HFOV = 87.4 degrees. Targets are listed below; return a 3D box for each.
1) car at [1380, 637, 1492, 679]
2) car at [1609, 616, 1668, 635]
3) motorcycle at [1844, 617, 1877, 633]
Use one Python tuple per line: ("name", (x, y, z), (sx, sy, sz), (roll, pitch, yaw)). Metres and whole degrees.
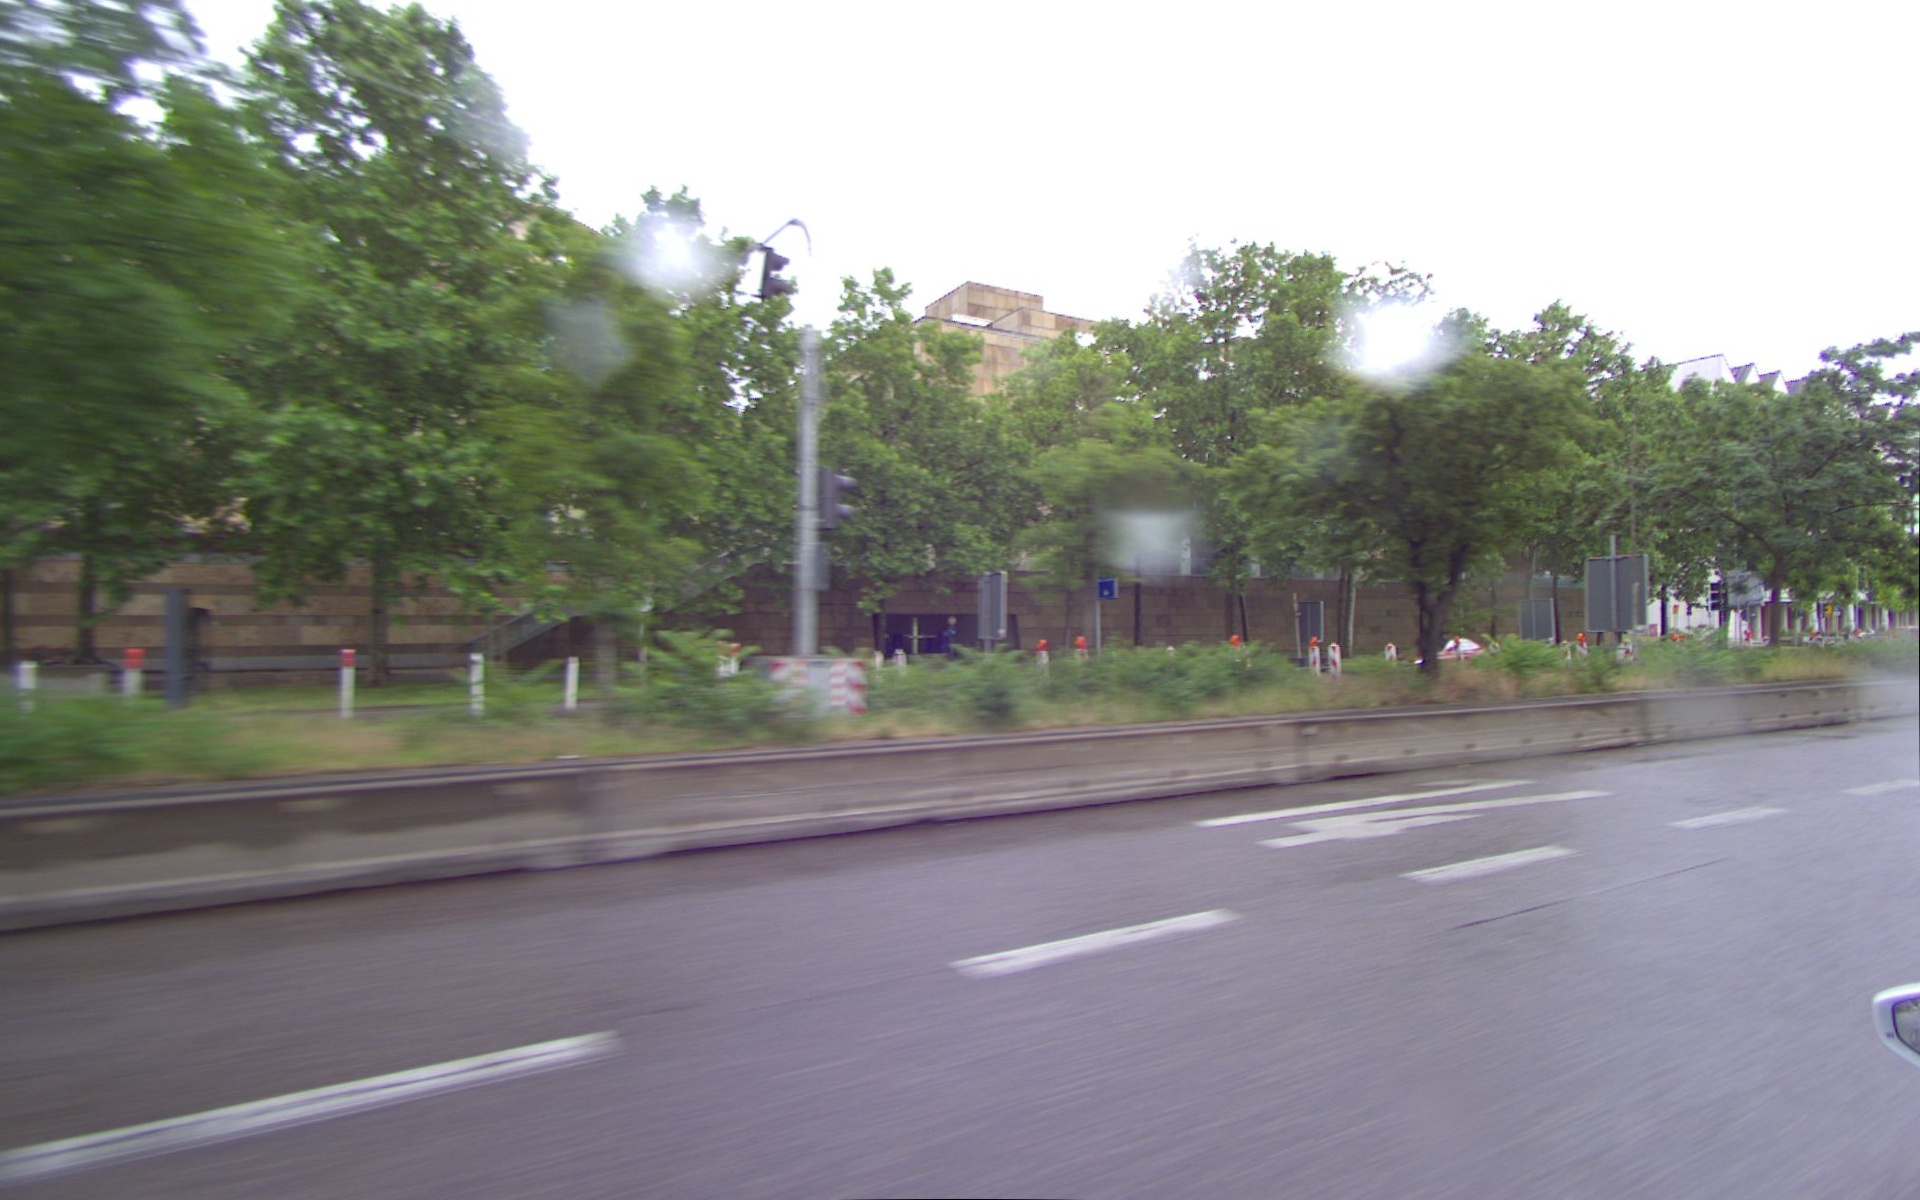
("car", (18.461, 2.237, 38.976), (3.951, 1.550, 1.986), (1, -4, -29))
("car", (61.524, 2.310, 91.119), (1.977, 1.617, 3.967), (0, -2, -31))
("motorcycle", (70.178, 1.971, 78.268), (1.809, 1.169, 0.426), (-2, -2, 34))
